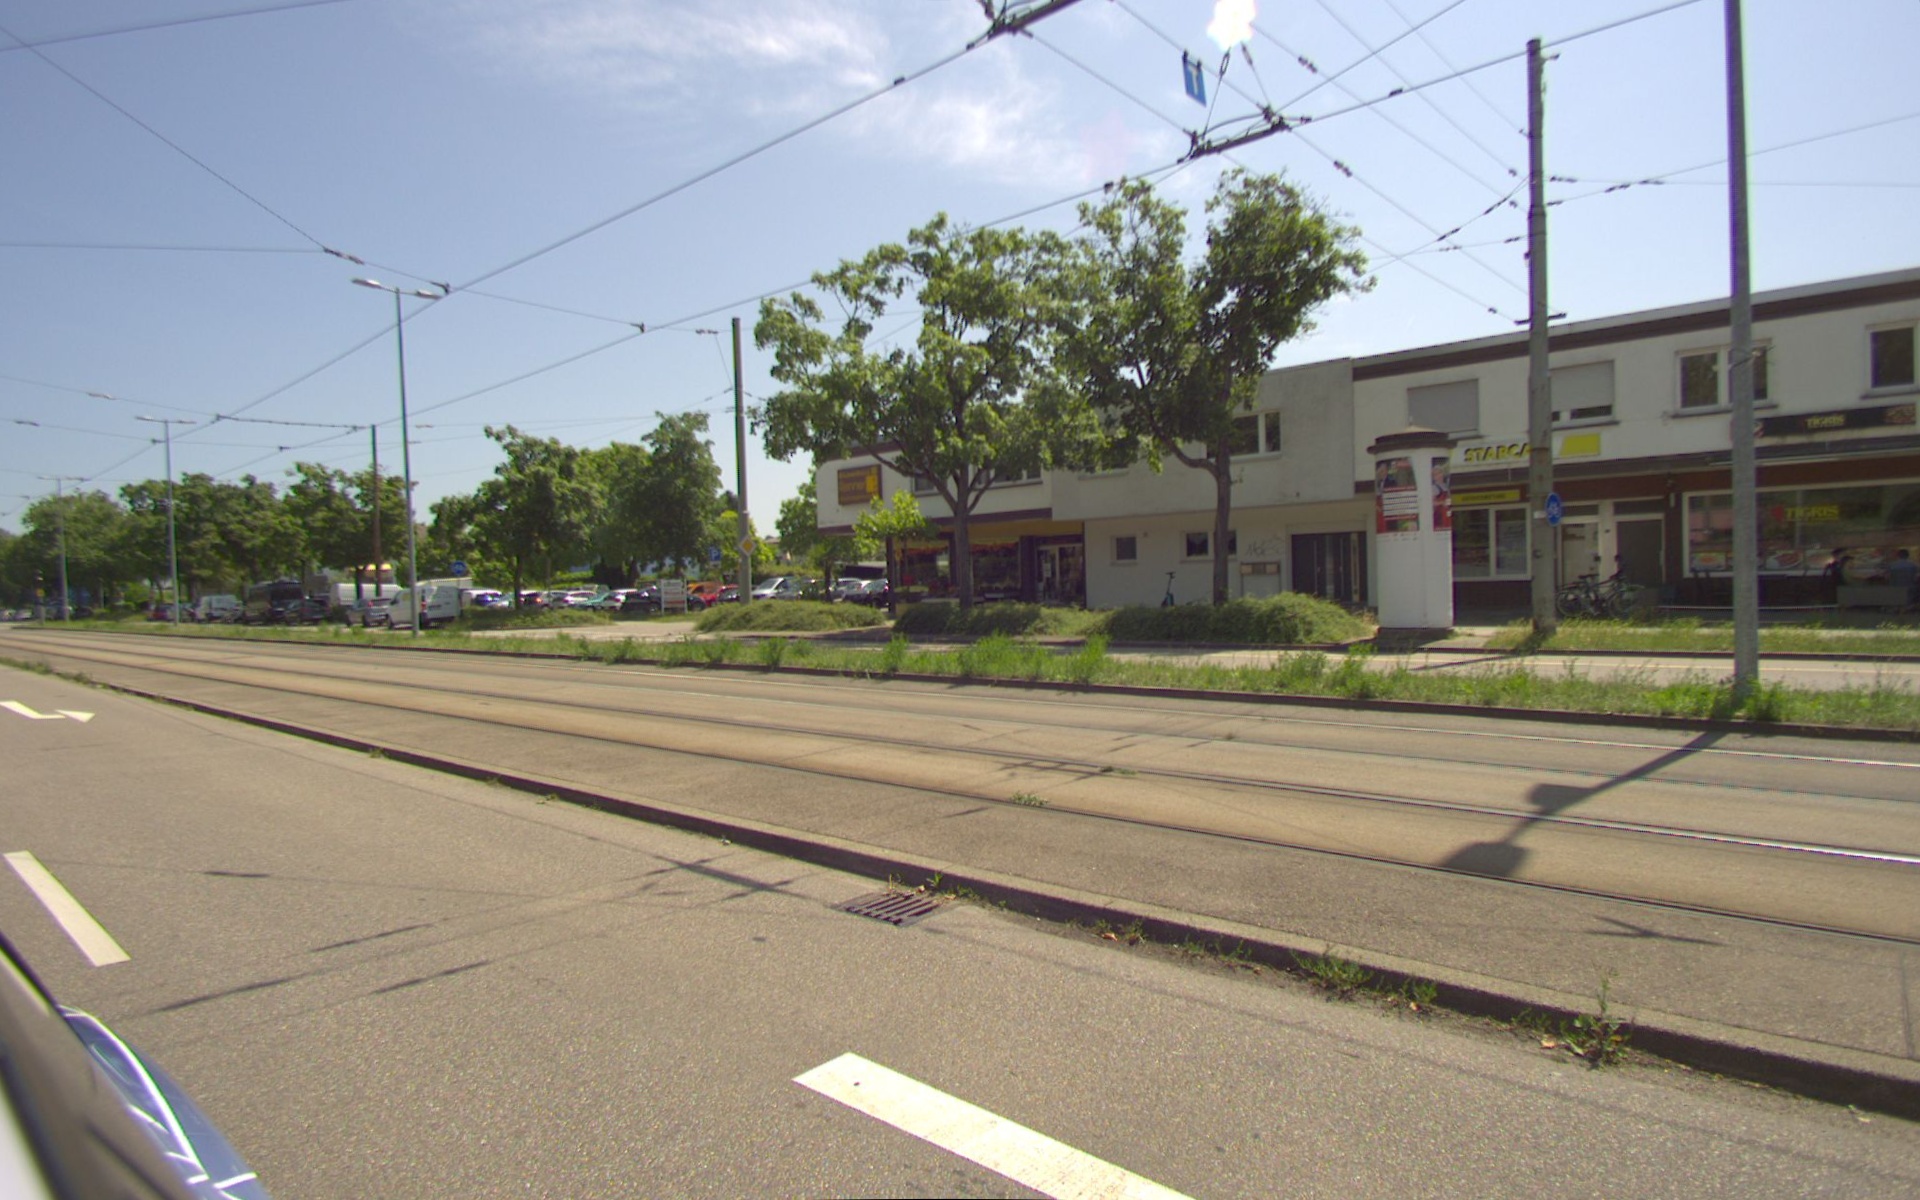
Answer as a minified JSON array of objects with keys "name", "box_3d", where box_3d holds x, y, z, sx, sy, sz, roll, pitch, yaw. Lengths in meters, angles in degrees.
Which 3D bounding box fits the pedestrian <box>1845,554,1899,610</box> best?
[{"name":"pedestrian","box_3d":[19.041,-0.369,21.149,0.810,1.136,0.558,-1,1,41]}]

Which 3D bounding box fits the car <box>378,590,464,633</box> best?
[{"name":"car","box_3d":[-25.259,0.534,47.342,4.659,1.897,1.973,-1,1,41]}]

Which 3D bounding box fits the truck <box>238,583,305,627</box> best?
[{"name":"truck","box_3d":[-42.203,0.311,62.021,4.927,2.560,2.197,-1,1,41]}]

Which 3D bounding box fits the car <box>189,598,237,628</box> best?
[{"name":"car","box_3d":[-52.661,0.916,71.337,4.506,1.989,1.660,-1,1,40]}]

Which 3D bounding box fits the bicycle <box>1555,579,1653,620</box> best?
[{"name":"bicycle","box_3d":[14.495,-0.004,22.812,1.786,0.854,0.523,-1,3,41]}]

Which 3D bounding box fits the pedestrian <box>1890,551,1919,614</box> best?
[{"name":"pedestrian","box_3d":[18.997,-0.357,20.284,0.491,1.248,0.569,-1,1,40]}]

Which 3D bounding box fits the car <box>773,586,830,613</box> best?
[{"name":"car","box_3d":[-10.077,-0.040,64.407,1.532,1.549,3.450,-1,1,38]}]

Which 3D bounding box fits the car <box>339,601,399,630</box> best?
[{"name":"car","box_3d":[-30.122,0.787,51.586,3.568,1.397,1.653,-1,1,43]}]

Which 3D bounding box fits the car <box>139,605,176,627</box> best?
[{"name":"car","box_3d":[-65.506,1.304,82.586,3.821,1.716,1.660,-1,1,40]}]

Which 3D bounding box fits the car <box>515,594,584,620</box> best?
[{"name":"car","box_3d":[-24.023,0.409,59.263,1.600,1.404,3.375,-1,1,35]}]

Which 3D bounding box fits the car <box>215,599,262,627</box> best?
[{"name":"car","box_3d":[-48.480,0.866,67.972,3.866,1.807,1.660,-1,1,40]}]

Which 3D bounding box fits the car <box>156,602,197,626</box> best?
[{"name":"car","box_3d":[-60.556,1.098,78.212,4.199,1.807,1.660,-1,0,40]}]

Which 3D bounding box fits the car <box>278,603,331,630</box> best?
[{"name":"car","box_3d":[-37.620,0.940,58.063,3.669,1.397,1.653,-1,1,43]}]

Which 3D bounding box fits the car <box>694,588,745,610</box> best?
[{"name":"car","box_3d":[-17.033,-0.079,71.819,1.504,1.469,3.315,-1,1,38]}]

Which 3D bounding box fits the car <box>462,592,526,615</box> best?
[{"name":"car","box_3d":[-30.050,0.223,65.340,1.600,1.404,3.375,-1,1,35]}]

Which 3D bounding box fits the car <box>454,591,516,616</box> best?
[{"name":"car","box_3d":[-31.627,0.235,67.463,1.600,1.517,3.375,-1,1,35]}]

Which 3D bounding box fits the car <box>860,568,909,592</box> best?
[{"name":"car","box_3d":[-6.545,-1.742,87.943,2.000,2.029,3.944,-1,1,42]}]

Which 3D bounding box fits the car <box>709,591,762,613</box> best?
[{"name":"car","box_3d":[-15.421,0.103,69.637,1.504,1.400,3.315,-1,1,38]}]

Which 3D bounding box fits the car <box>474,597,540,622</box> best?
[{"name":"car","box_3d":[-28.180,0.596,63.058,1.600,1.404,3.375,-1,1,35]}]

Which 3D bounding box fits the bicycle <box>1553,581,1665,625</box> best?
[{"name":"bicycle","box_3d":[13.890,0.068,21.693,1.958,0.854,0.596,-1,3,41]}]

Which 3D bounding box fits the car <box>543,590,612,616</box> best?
[{"name":"car","box_3d":[-21.957,0.153,58.216,1.600,1.404,3.375,-1,1,35]}]

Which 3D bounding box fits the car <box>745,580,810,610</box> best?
[{"name":"car","box_3d":[-11.887,-0.338,65.953,1.811,1.798,3.950,-1,1,38]}]

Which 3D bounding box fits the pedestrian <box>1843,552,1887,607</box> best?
[{"name":"pedestrian","box_3d":[19.447,-0.438,21.755,0.674,1.172,0.512,-1,1,41]}]

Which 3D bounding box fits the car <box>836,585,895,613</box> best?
[{"name":"car","box_3d":[-5.683,-0.086,61.378,1.622,1.549,3.450,-1,1,38]}]

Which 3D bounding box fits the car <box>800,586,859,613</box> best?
[{"name":"car","box_3d":[-8.041,-0.047,62.574,1.622,1.549,3.450,-1,1,38]}]

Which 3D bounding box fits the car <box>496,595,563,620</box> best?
[{"name":"car","box_3d":[-26.198,0.456,61.680,1.600,1.404,3.375,-1,1,35]}]

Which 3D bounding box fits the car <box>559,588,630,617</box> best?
[{"name":"car","box_3d":[-20.240,0.119,56.182,1.595,1.502,3.375,-1,1,35]}]

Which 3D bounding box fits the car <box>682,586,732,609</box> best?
[{"name":"car","box_3d":[-18.486,-0.173,74.027,1.504,1.573,3.315,-1,1,38]}]

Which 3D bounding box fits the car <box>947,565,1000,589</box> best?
[{"name":"car","box_3d":[1.068,-1.828,79.716,2.000,1.785,3.944,-1,1,42]}]

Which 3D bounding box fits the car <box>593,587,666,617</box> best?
[{"name":"car","box_3d":[-17.957,0.083,55.058,1.790,1.502,3.375,-1,1,35]}]

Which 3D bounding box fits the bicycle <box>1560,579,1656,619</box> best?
[{"name":"bicycle","box_3d":[14.862,-0.012,23.242,1.786,0.854,0.523,-1,3,41]}]

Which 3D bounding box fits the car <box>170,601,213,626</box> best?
[{"name":"car","box_3d":[-57.274,0.996,75.371,4.199,1.807,1.660,-1,1,40]}]
